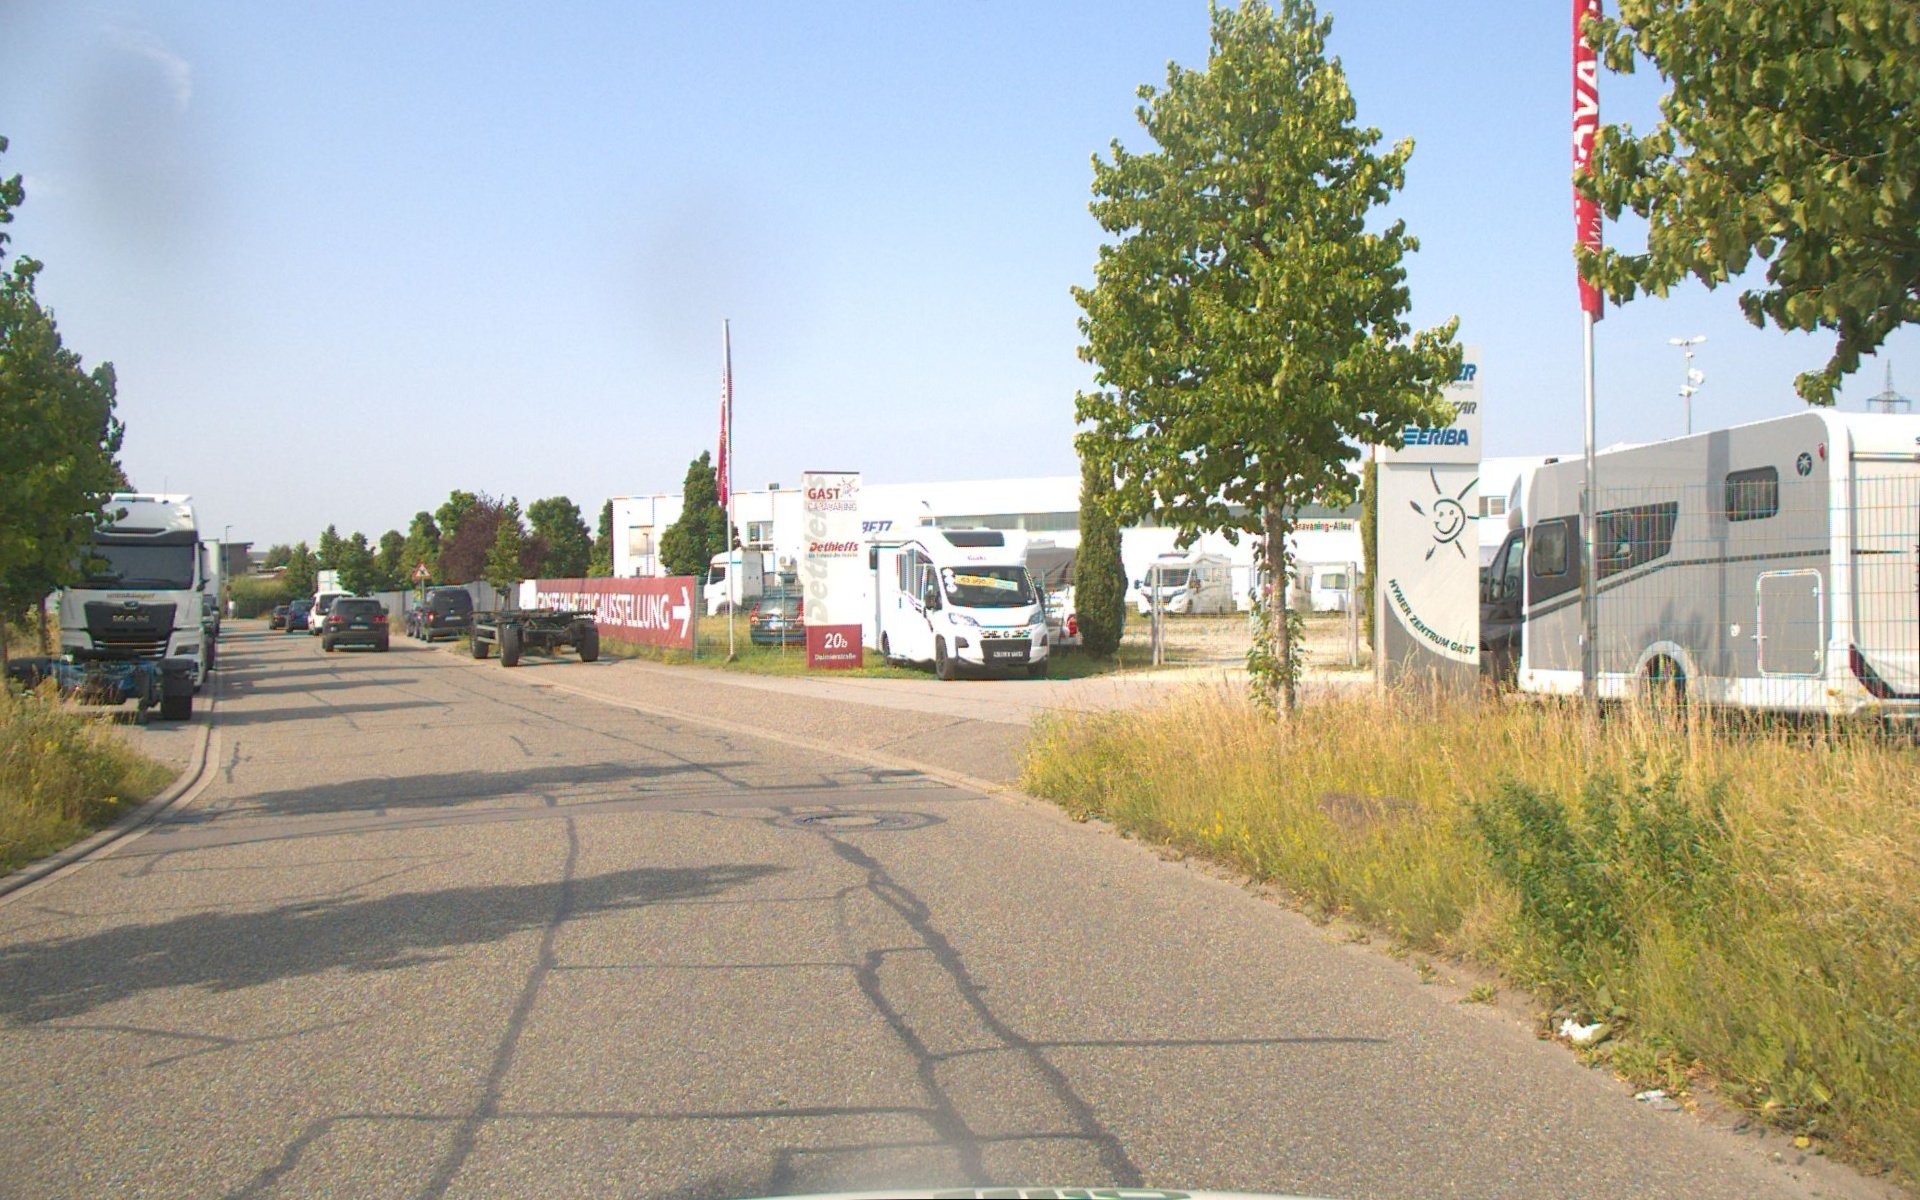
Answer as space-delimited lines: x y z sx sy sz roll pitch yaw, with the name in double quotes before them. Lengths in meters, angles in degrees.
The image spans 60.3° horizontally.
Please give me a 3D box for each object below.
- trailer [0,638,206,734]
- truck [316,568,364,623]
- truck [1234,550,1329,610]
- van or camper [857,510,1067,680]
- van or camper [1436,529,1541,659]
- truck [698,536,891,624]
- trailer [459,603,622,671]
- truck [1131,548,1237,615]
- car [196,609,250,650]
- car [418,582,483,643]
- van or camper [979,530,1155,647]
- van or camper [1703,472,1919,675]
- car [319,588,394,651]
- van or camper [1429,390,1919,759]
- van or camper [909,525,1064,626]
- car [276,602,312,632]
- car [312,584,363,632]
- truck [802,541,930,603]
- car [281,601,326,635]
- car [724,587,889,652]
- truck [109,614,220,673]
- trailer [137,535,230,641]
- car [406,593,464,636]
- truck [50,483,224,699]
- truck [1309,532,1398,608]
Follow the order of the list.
"trailer" -13.085 1.250 25.605 2.541 1.119 5.161 -1 1 -25
"truck" -43.658 -0.318 116.330 2.848 3.648 8.006 -3 1 -22
"truck" 13.336 -0.878 68.140 2.400 2.304 8.003 -1 1 21
"van or camper" -0.151 -0.137 32.903 2.293 2.995 6.940 -1 1 -16
"van or camper" 11.531 -0.179 36.077 1.952 2.578 6.154 -1 1 18
"truck" -8.075 -0.948 80.404 9.089 4.041 2.460 -1 1 19
"trailer" -11.293 0.883 43.807 2.590 1.412 9.382 -4 2 -24
"truck" 9.162 -0.803 66.917 2.400 2.514 8.003 -1 1 21
"car" -28.689 1.114 64.446 1.786 1.452 3.972 -2 1 -23
"car" -18.511 0.409 59.983 1.794 2.012 3.973 -5 3 -22
"van or camper" 2.743 -0.341 40.238 2.432 2.603 6.627 -1 1 21
"van or camper" 15.961 -0.449 26.386 7.104 3.085 2.587 -1 0 15
"car" -19.348 0.580 52.933 1.968 1.836 3.970 -2 2 -24
"van or camper" 7.490 -0.245 16.800 2.306 2.897 7.325 -1 0 -10
"van or camper" 1.044 -0.869 55.774 2.740 3.137 7.972 -1 1 20
"car" -42.218 1.030 104.809 1.968 1.803 3.969 -1 1 -24
"car" -26.930 0.319 71.616 1.964 1.932 4.442 -1 1 -20
"truck" -3.969 -1.251 71.970 2.400 2.514 8.003 -1 1 21
"car" -34.297 0.911 86.400 1.968 1.668 3.969 -1 1 -24
"car" -3.888 0.481 42.403 2.129 1.502 3.985 -1 1 36
"truck" -21.354 1.120 44.623 2.492 1.287 6.476 -2 1 -25
"trailer" -35.797 -0.542 76.630 3.359 4.416 13.817 -2 1 -23
"car" -20.642 0.549 64.949 1.794 1.474 3.775 -5 3 -22
"truck" -18.091 -0.195 37.045 2.590 3.997 12.827 -1 0 -23
"truck" 16.033 -1.230 67.021 2.400 2.875 8.003 -1 1 21
